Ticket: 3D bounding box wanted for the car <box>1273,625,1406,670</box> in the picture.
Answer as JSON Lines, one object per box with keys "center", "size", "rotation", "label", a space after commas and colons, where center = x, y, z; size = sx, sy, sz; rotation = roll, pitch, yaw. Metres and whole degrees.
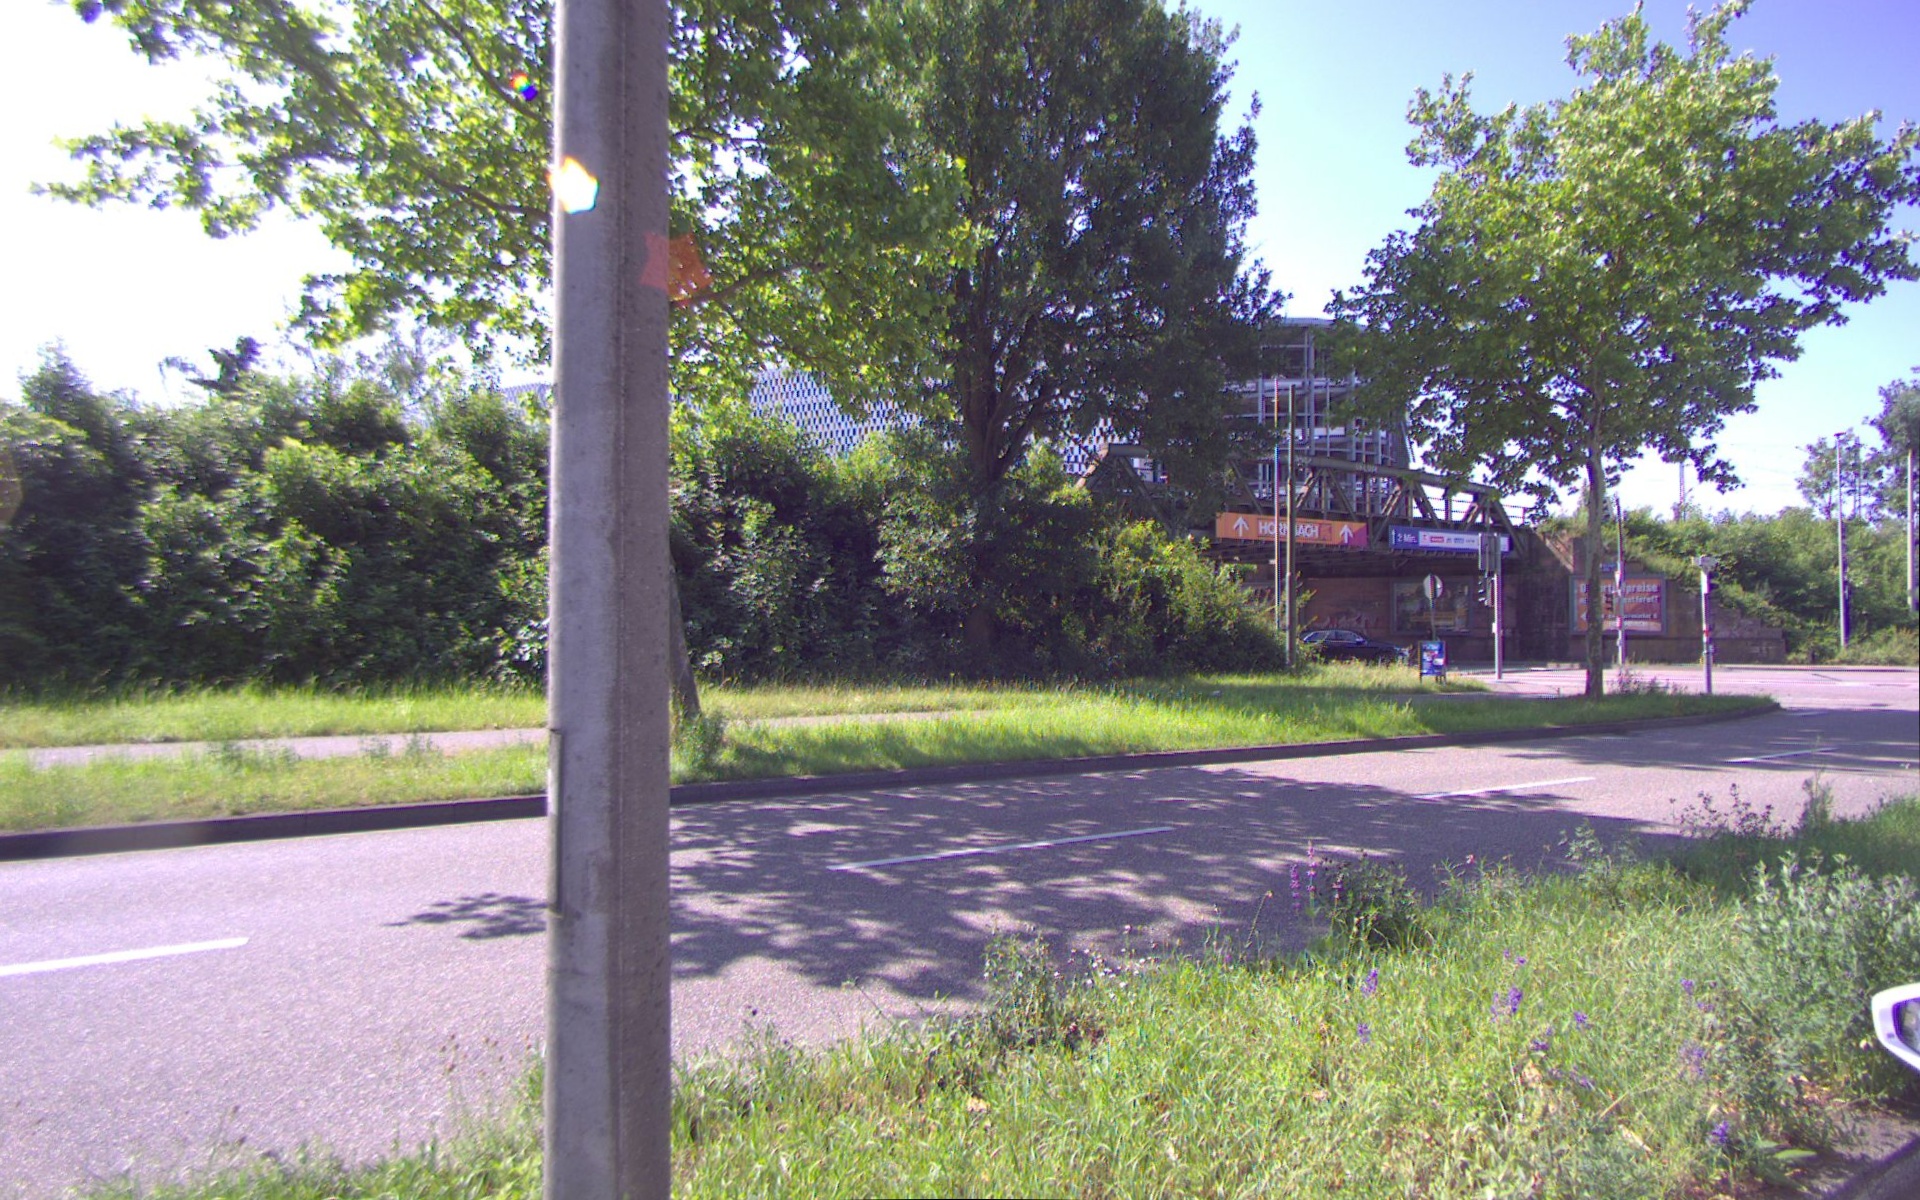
{"center": [15.455, 1.903, 40.960], "size": [4.956, 1.617, 1.526], "rotation": [1, -1, 24], "label": "car"}
